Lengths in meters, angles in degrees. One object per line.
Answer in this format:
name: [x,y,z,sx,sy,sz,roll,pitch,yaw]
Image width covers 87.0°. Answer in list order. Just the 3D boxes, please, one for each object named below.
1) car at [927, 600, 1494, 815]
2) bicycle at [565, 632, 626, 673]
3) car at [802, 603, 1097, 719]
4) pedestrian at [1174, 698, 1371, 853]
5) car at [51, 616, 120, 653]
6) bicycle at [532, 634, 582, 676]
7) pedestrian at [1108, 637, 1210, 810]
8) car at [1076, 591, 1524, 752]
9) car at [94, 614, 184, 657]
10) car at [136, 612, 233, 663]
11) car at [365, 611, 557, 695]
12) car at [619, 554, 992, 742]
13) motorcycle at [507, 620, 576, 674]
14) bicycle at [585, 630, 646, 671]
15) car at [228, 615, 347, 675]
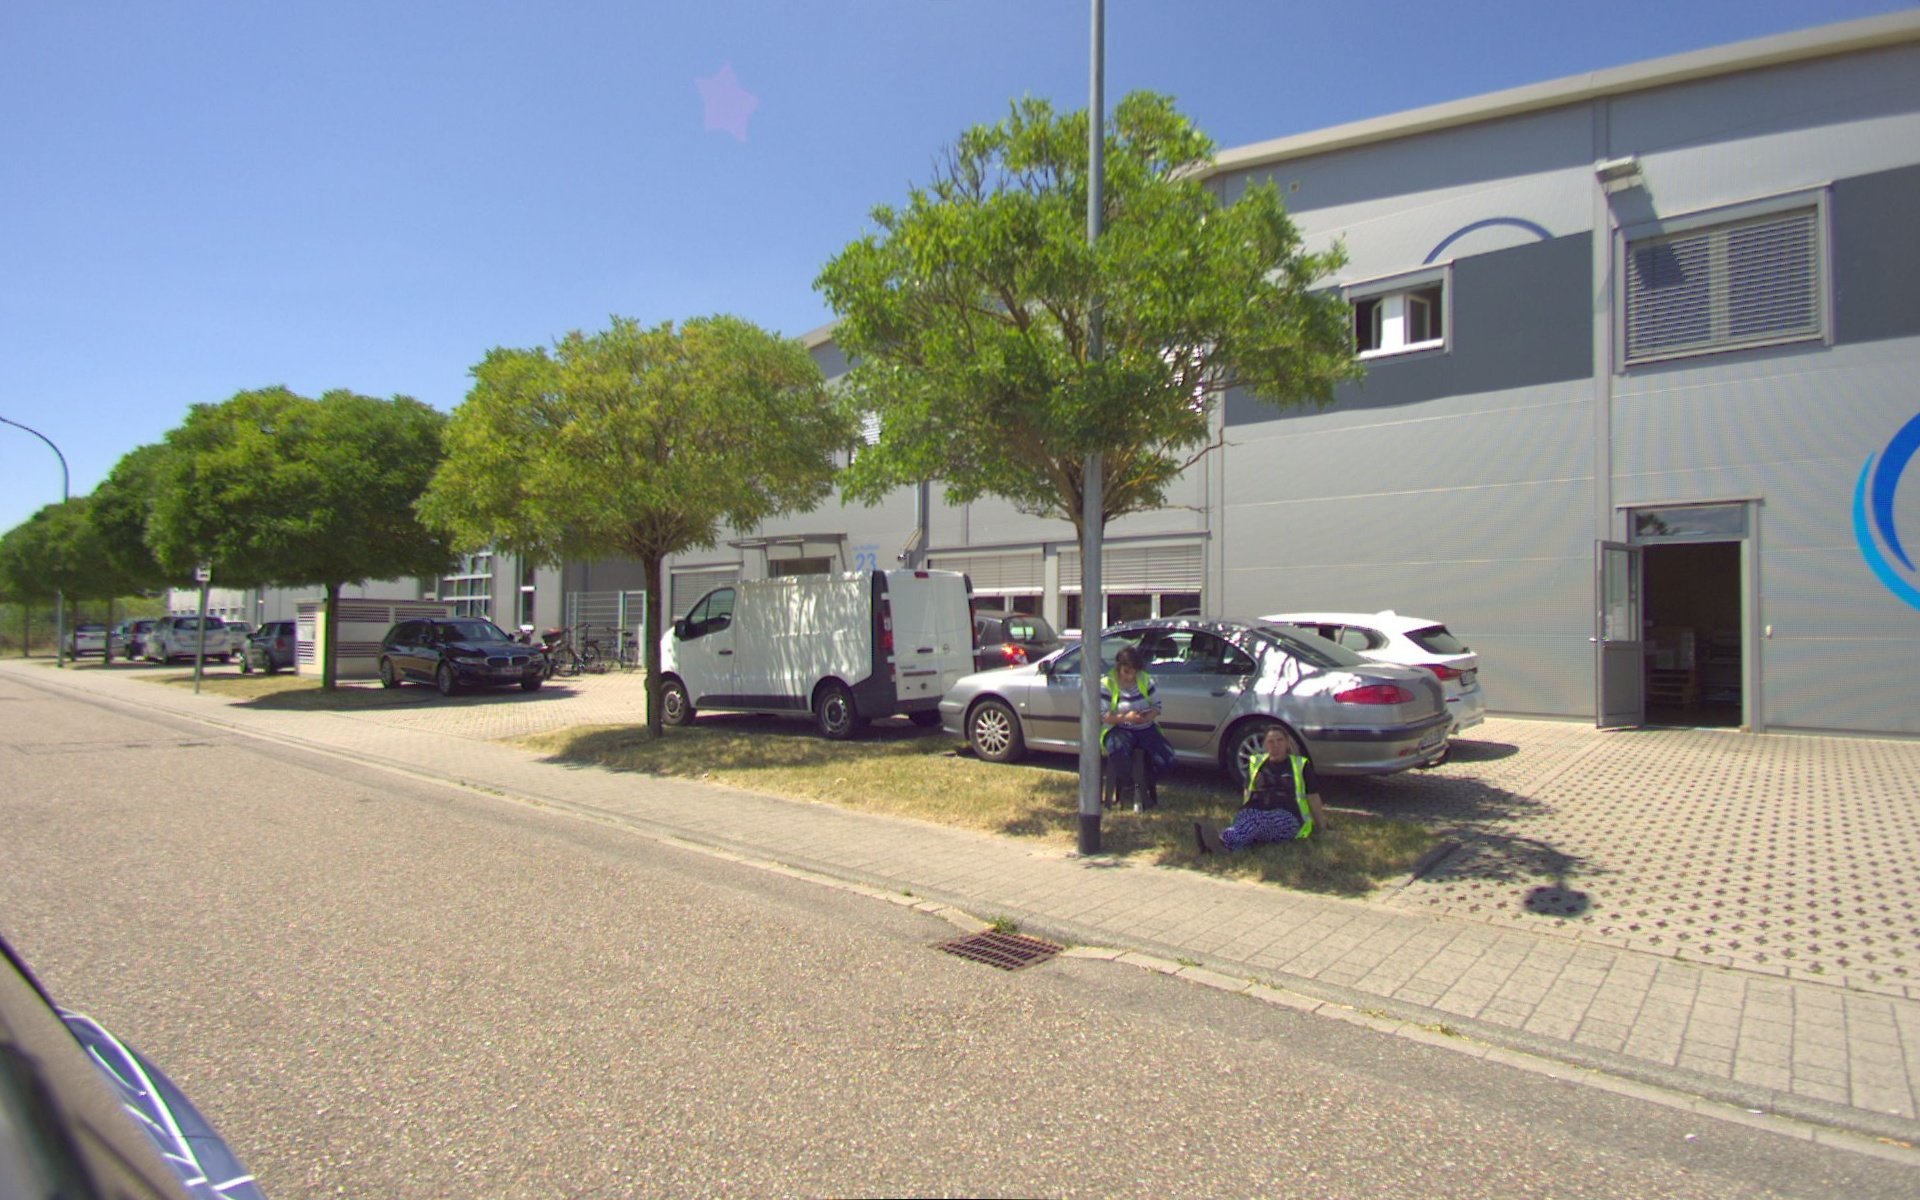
car: [2.102,0.760,9.470,4.839,1.451,1.907,0,2,41]
bicycle: [-9.125,1.291,25.304,2.062,0.985,0.431,-1,0,39]
car: [-0.235,0.813,14.952,4.082,1.451,1.908,-1,0,39]
pedestrian: [2.112,1.118,6.762,0.753,0.754,1.344,-1,1,42]
car: [-38.557,1.503,44.569,4.327,1.511,1.805,-2,-1,42]
bicycle: [-9.757,1.316,24.482,1.695,0.985,0.347,-1,0,39]
pedestrian: [1.456,0.876,7.440,0.473,1.159,0.556,-2,3,-40]
car: [3.719,0.695,11.575,4.463,1.476,1.907,-1,0,41]
car: [-30.287,1.309,37.302,3.697,1.511,1.667,-1,-2,36]
car: [-26.073,1.234,33.976,4.537,1.585,1.747,-1,-1,41]
car: [-10.098,0.993,20.303,4.711,1.464,1.747,-1,0,41]
car: [-2.184,0.551,13.244,5.119,2.034,1.819,-1,0,39]
motorcycle: [-9.488,1.052,22.923,2.079,1.171,0.510,-1,0,39]
bicycle: [-8.759,1.264,25.694,2.062,0.985,0.431,-1,0,39]
car: [-18.014,1.157,27.062,3.838,1.464,1.747,-1,-1,42]
